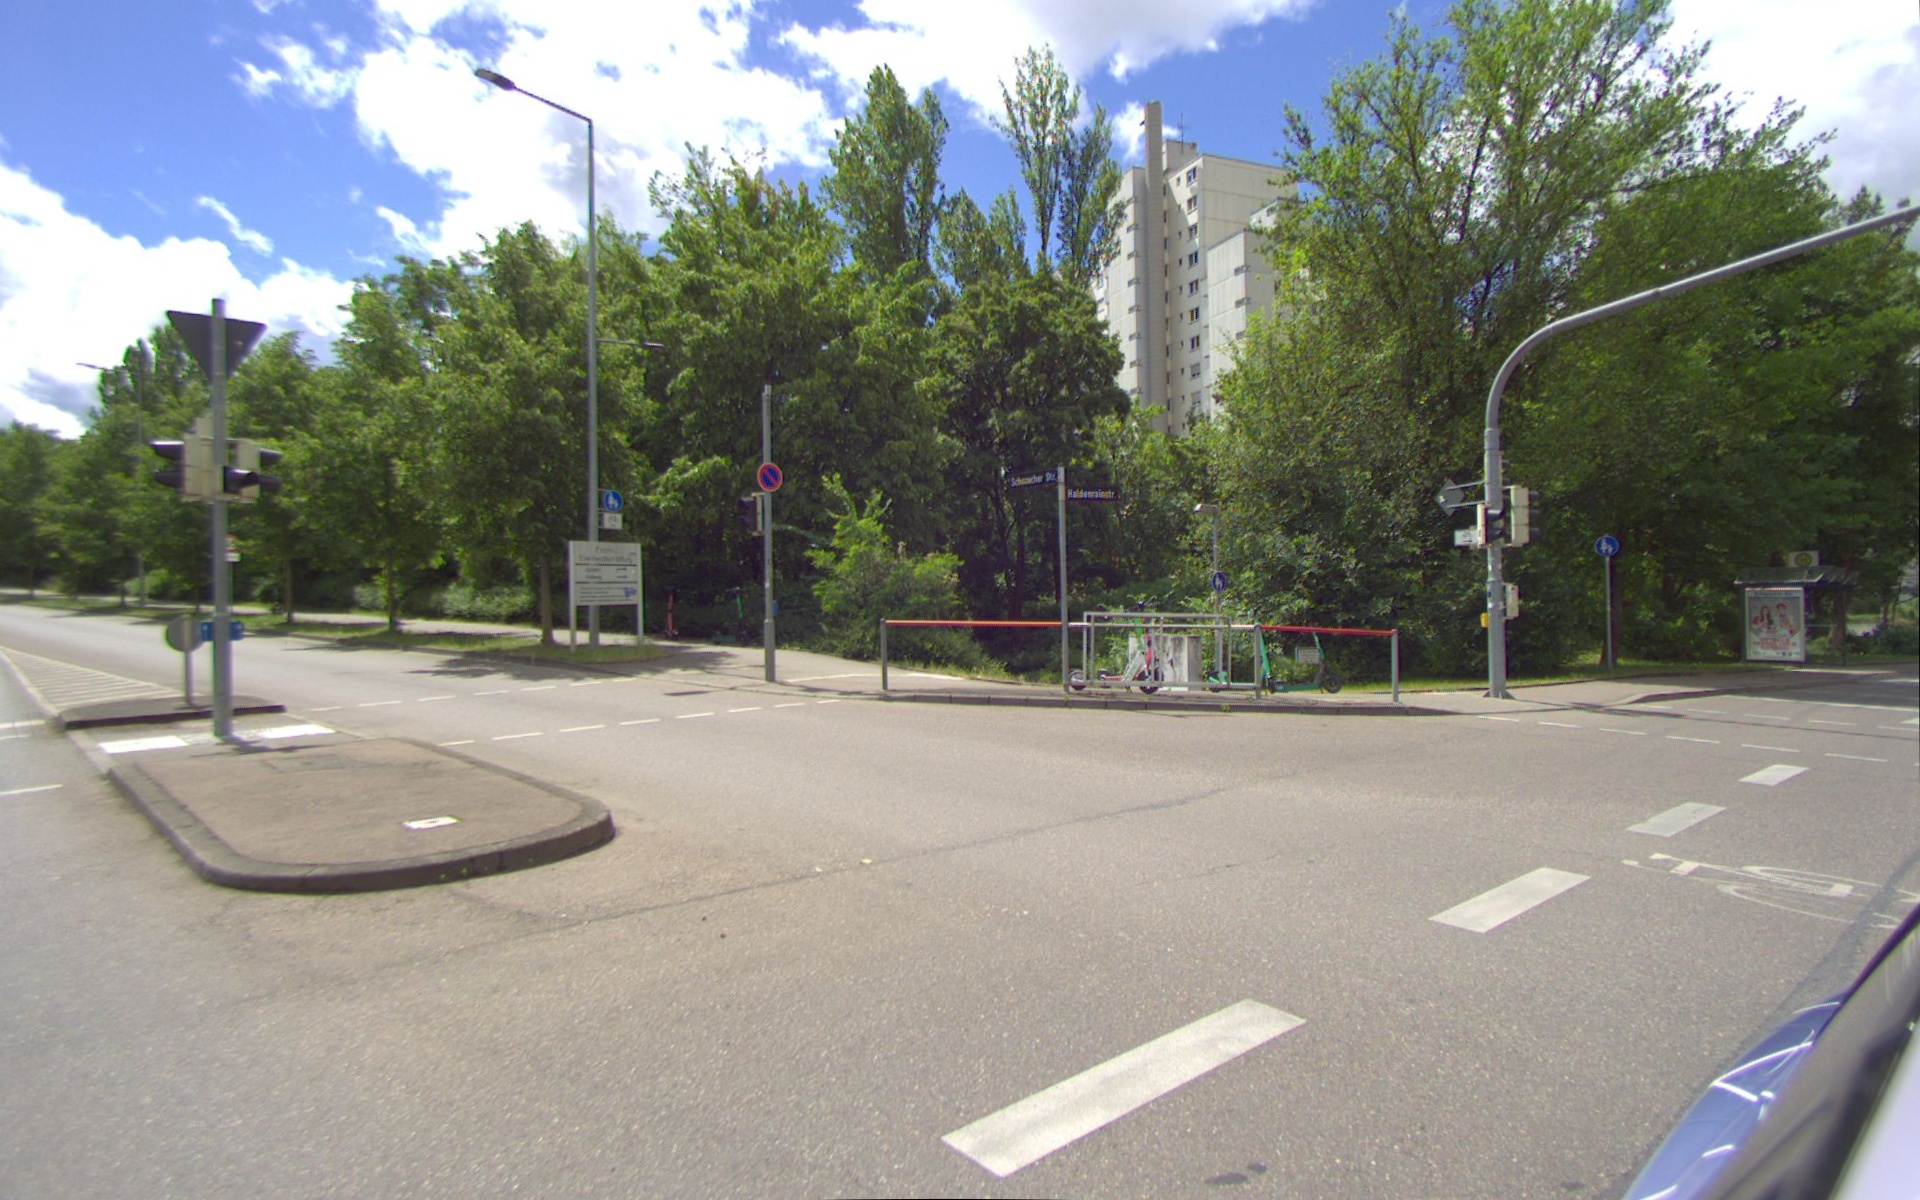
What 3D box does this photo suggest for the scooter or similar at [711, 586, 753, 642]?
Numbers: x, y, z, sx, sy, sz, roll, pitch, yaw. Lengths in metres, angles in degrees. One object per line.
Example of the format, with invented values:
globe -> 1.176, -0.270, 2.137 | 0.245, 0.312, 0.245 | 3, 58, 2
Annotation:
scooter or similar -> -5.062, 0.297, 22.468 | 0.513, 1.197, 1.176 | 1, 0, -34

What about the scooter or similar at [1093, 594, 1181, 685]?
scooter or similar -> 2.561, 0.548, 14.688 | 1.180, 1.250, 0.473 | 1, 0, 40

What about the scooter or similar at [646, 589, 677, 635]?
scooter or similar -> -7.234, 0.269, 24.536 | 0.403, 1.087, 1.115 | 1, 0, -33

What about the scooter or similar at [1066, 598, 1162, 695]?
scooter or similar -> 2.085, 0.604, 13.688 | 1.198, 1.250, 0.475 | 1, 0, 25

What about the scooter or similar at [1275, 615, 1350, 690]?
scooter or similar -> 6.314, 0.954, 18.176 | 1.195, 1.310, 0.531 | -2, -5, 19

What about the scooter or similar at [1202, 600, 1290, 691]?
scooter or similar -> 3.987, 0.613, 14.178 | 0.440, 1.210, 1.172 | 1, 0, -33
